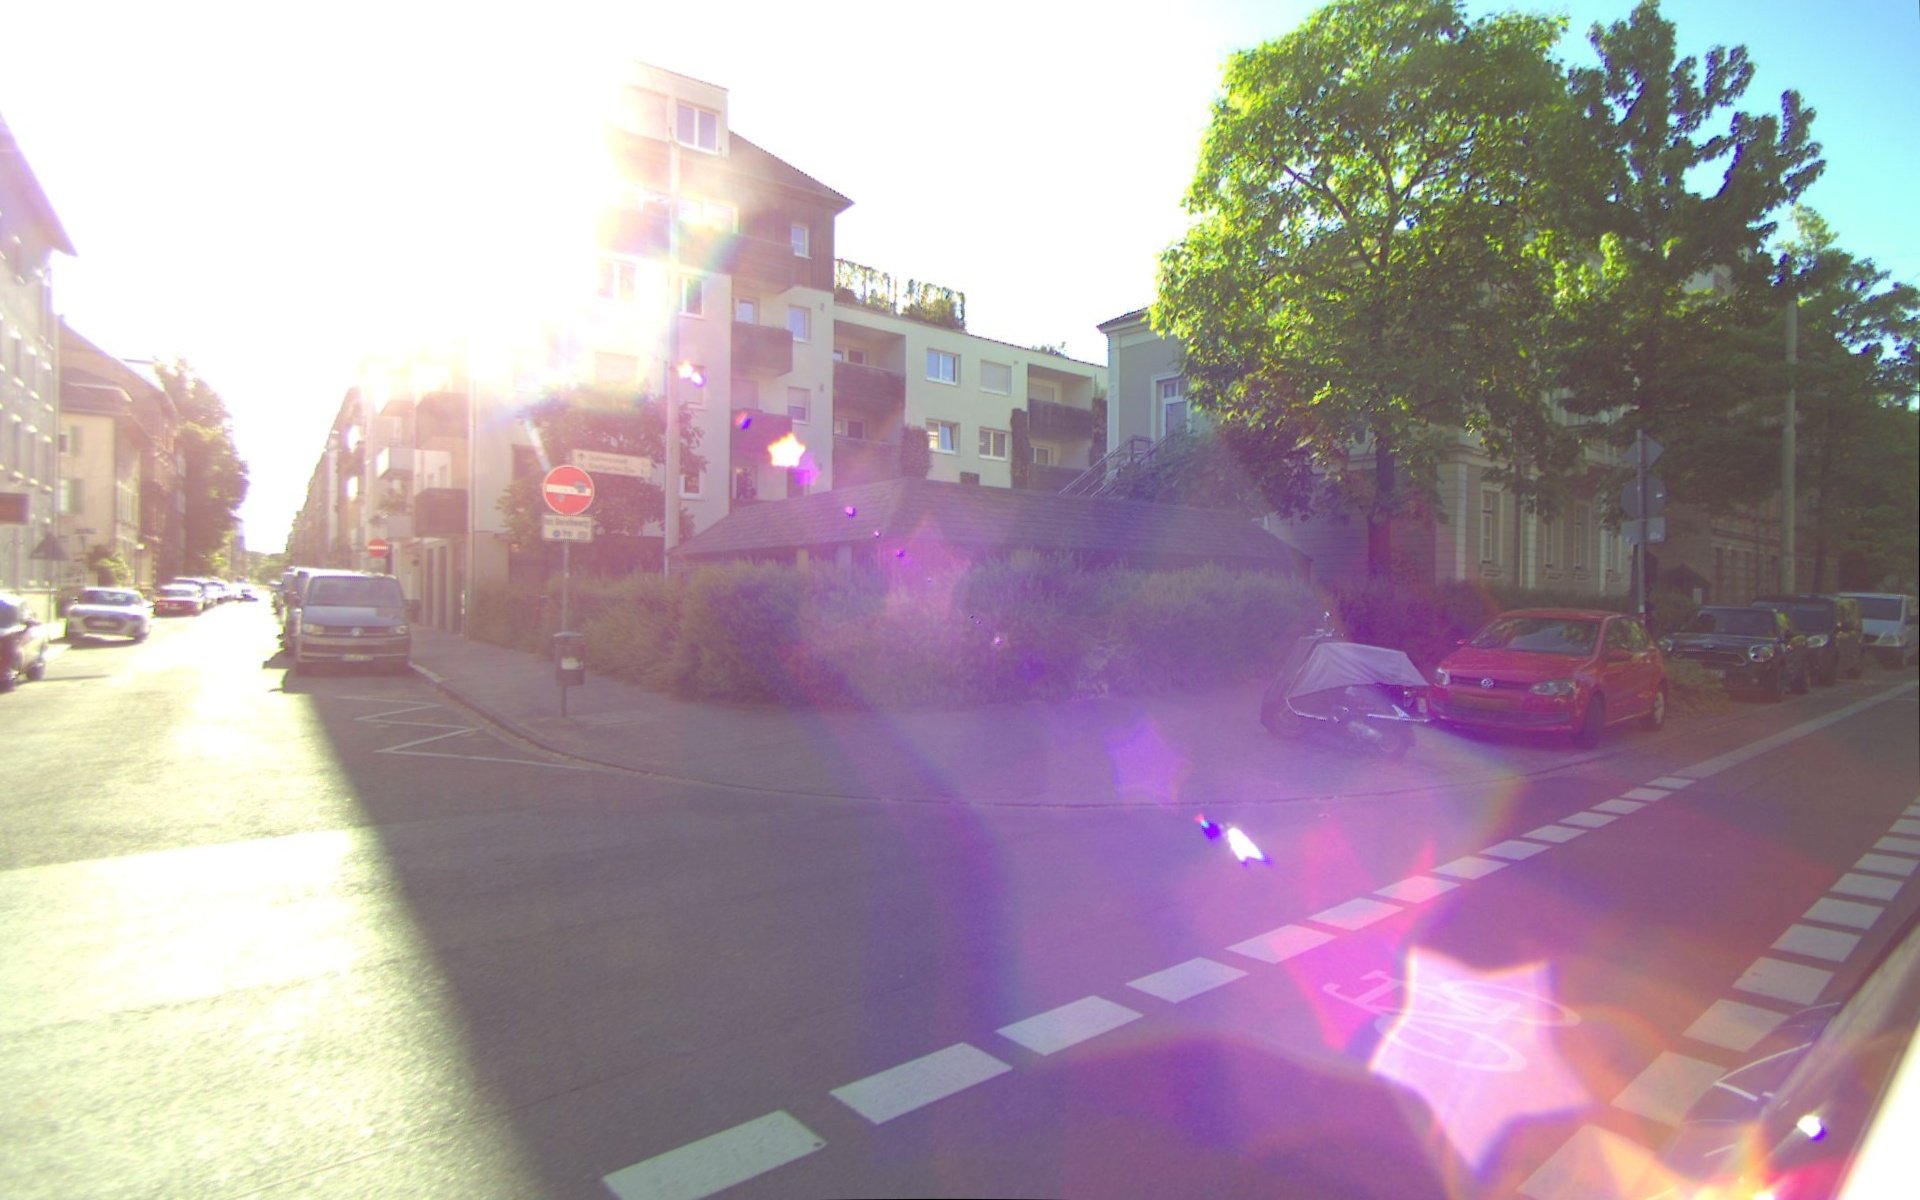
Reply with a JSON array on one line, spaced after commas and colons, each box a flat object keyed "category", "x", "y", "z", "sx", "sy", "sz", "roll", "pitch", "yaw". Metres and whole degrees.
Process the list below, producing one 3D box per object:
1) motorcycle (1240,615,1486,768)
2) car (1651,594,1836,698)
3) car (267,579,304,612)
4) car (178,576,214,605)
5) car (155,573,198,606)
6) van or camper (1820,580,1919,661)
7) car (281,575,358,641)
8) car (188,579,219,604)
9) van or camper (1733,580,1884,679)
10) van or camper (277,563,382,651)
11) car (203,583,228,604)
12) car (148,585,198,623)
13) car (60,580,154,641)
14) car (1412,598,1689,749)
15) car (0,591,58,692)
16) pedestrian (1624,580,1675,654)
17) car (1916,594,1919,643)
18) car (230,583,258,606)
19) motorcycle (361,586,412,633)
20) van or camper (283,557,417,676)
[{"category": "motorcycle", "x": 3.866, "y": 0.813, "z": 9.890, "sx": 0.812, "sy": 1.172, "sz": 2.074, "roll": 0, "pitch": 3, "yaw": -36}, {"category": "car", "x": 13.456, "y": 0.700, "z": 17.307, "sx": 4.070, "sy": 1.505, "sz": 1.693, "roll": 0, "pitch": 3, "yaw": -41}, {"category": "car", "x": -41.090, "y": -0.273, "z": 61.597, "sx": 1.728, "sy": 1.881, "sz": 3.651, "roll": 1, "pitch": 0, "yaw": -36}, {"category": "car", "x": -55.513, "y": -0.697, "z": 73.584, "sx": 1.926, "sy": 1.952, "sz": 4.198, "roll": 3, "pitch": -2, "yaw": -36}, {"category": "car", "x": -50.350, "y": -0.653, "z": 65.081, "sx": 1.926, "sy": 1.952, "sz": 4.198, "roll": 3, "pitch": -2, "yaw": -36}, {"category": "van or camper", "x": 24.611, "y": 0.501, "z": 26.923, "sx": 4.836, "sy": 1.907, "sz": 1.882, "roll": 0, "pitch": 3, "yaw": -41}, {"category": "car", "x": -19.441, "y": 0.220, "z": 30.646, "sx": 1.728, "sy": 1.881, "sz": 3.651, "roll": 1, "pitch": 0, "yaw": -36}, {"category": "car", "x": -63.222, "y": -0.734, "z": 84.617, "sx": 1.926, "sy": 1.952, "sz": 4.198, "roll": 3, "pitch": -2, "yaw": -36}, {"category": "van or camper", "x": 17.799, "y": 0.549, "z": 21.165, "sx": 4.365, "sy": 1.804, "sz": 1.693, "roll": 0, "pitch": 3, "yaw": -41}, {"category": "van or camper", "x": -15.854, "y": 0.156, "z": 25.343, "sx": 1.894, "sy": 2.008, "sz": 4.596, "roll": 1, "pitch": 0, "yaw": -36}, {"category": "car", "x": -75.167, "y": -0.667, "z": 102.204, "sx": 1.926, "sy": 1.952, "sz": 4.198, "roll": 3, "pitch": -2, "yaw": -36}, {"category": "car", "x": -39.990, "y": 0.174, "z": 51.493, "sx": 1.759, "sy": 1.777, "sz": 4.198, "roll": 3, "pitch": -2, "yaw": -36}, {"category": "car", "x": -24.686, "y": 0.286, "z": 29.417, "sx": 1.674, "sy": 1.594, "sz": 4.198, "roll": 3, "pitch": -2, "yaw": -36}, {"category": "car", "x": 6.955, "y": 0.726, "z": 11.781, "sx": 3.797, "sy": 1.397, "sz": 1.607, "roll": 0, "pitch": 3, "yaw": -41}, {"category": "car", "x": -16.225, "y": 0.597, "z": 16.555, "sx": 1.674, "sy": 1.494, "sz": 4.198, "roll": 3, "pitch": -2, "yaw": -36}, {"category": "pedestrian", "x": 16.201, "y": 0.389, "z": 23.782, "sx": 0.869, "sy": 1.700, "sz": 0.813, "roll": 1, "pitch": 0, "yaw": -41}, {"category": "car", "x": 36.368, "y": 0.698, "z": 36.828, "sx": 4.296, "sy": 1.732, "sz": 1.814, "roll": 0, "pitch": 3, "yaw": -41}, {"category": "car", "x": -66.239, "y": -0.516, "z": 93.600, "sx": 1.926, "sy": 1.952, "sz": 4.198, "roll": 3, "pitch": -2, "yaw": -36}, {"category": "motorcycle", "x": -18.057, "y": 0.272, "z": 31.817, "sx": 1.077, "sy": 1.426, "sz": 3.142, "roll": 0, "pitch": 0, "yaw": -36}, {"category": "van or camper", "x": -12.267, "y": 0.286, "z": 20.201, "sx": 1.894, "sy": 2.090, "sz": 4.596, "roll": 1, "pitch": 0, "yaw": -36}]
